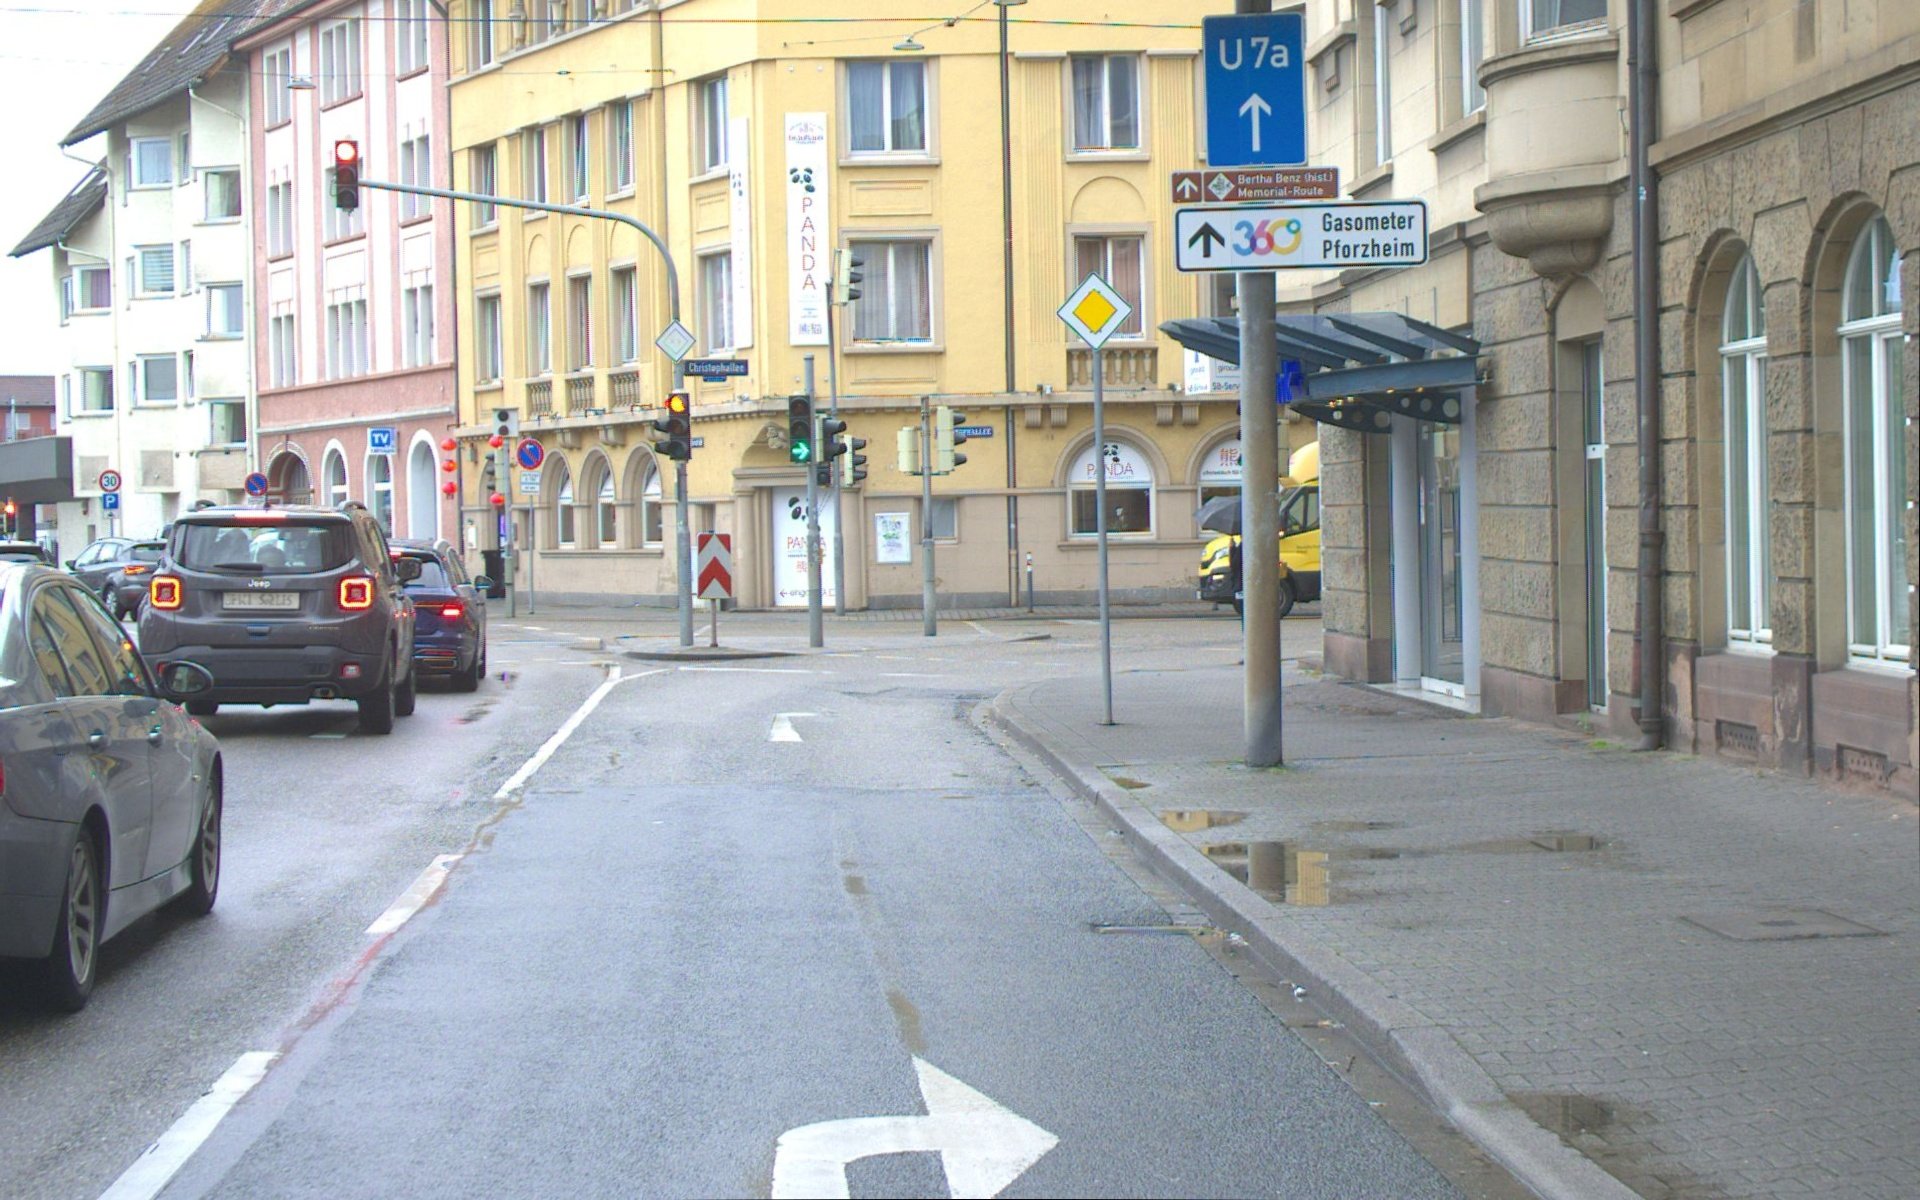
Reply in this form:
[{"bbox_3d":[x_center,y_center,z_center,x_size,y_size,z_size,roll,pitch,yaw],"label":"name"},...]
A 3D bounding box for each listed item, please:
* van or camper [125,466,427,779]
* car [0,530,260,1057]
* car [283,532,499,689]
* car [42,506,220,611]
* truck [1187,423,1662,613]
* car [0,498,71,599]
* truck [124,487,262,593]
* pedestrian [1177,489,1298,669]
[{"bbox_3d":[-5.111,0.120,26.168,1.854,2.139,4.143,2,1,-6],"label":"van or camper"},{"bbox_3d":[-3.580,0.514,11.650,1.799,1.459,4.371,0,1,-4],"label":"car"},{"bbox_3d":[-5.374,0.050,32.914,1.802,1.401,4.685,0,1,-6],"label":"car"},{"bbox_3d":[-15.005,-0.751,62.102,1.993,1.809,4.000,-2,1,-31],"label":"car"},{"bbox_3d":[7.242,-1.288,54.004,7.090,2.841,2.083,-1,1,-4],"label":"truck"},{"bbox_3d":[-19.744,-1.081,70.982,1.993,2.006,4.001,-2,2,-24],"label":"car"},{"bbox_3d":[-17.766,-1.415,79.506,2.026,2.381,4.237,-1,2,-29],"label":"truck"},{"bbox_3d":[2.982,-0.240,36.900,1.058,1.897,1.024,0,2,19],"label":"pedestrian"}]
